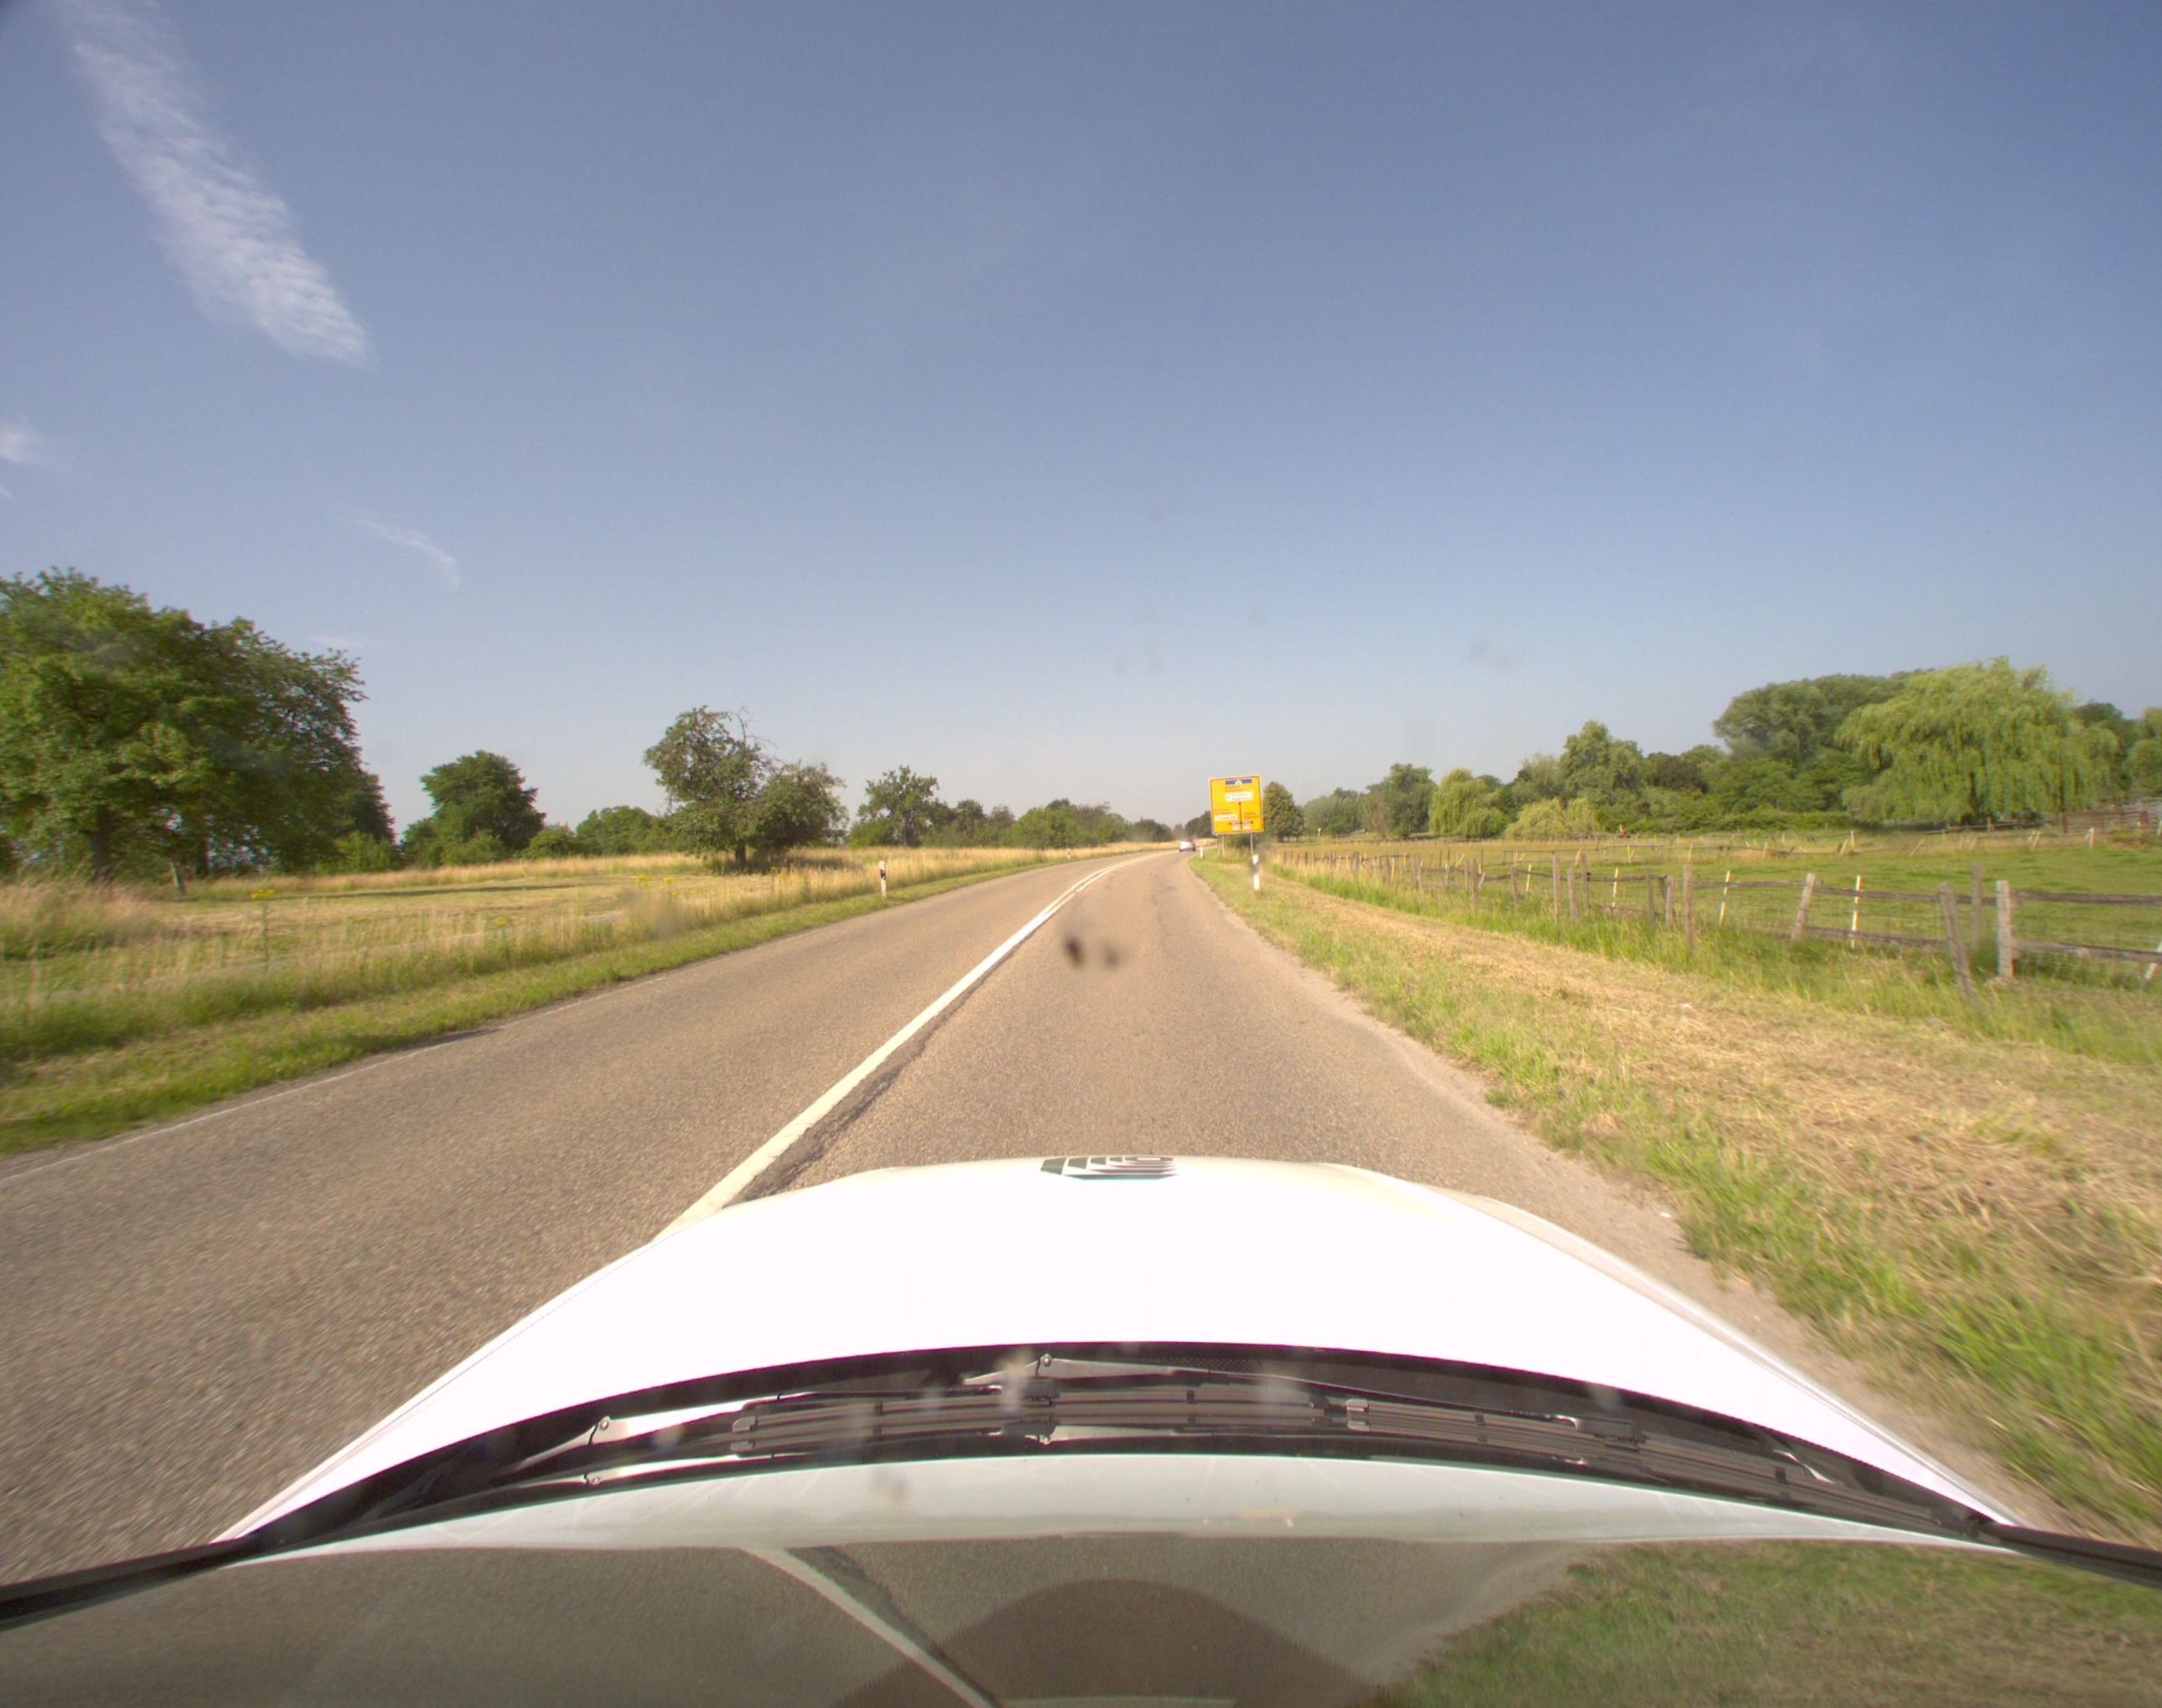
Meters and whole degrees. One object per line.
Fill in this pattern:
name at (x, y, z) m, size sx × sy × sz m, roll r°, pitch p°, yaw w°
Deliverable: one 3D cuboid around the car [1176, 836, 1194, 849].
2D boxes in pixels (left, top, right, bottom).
car at (12.700, -1.350, 98.933) m, size 1.887 × 1.511 × 4.013 m, roll -1°, pitch 1°, yaw 11°
